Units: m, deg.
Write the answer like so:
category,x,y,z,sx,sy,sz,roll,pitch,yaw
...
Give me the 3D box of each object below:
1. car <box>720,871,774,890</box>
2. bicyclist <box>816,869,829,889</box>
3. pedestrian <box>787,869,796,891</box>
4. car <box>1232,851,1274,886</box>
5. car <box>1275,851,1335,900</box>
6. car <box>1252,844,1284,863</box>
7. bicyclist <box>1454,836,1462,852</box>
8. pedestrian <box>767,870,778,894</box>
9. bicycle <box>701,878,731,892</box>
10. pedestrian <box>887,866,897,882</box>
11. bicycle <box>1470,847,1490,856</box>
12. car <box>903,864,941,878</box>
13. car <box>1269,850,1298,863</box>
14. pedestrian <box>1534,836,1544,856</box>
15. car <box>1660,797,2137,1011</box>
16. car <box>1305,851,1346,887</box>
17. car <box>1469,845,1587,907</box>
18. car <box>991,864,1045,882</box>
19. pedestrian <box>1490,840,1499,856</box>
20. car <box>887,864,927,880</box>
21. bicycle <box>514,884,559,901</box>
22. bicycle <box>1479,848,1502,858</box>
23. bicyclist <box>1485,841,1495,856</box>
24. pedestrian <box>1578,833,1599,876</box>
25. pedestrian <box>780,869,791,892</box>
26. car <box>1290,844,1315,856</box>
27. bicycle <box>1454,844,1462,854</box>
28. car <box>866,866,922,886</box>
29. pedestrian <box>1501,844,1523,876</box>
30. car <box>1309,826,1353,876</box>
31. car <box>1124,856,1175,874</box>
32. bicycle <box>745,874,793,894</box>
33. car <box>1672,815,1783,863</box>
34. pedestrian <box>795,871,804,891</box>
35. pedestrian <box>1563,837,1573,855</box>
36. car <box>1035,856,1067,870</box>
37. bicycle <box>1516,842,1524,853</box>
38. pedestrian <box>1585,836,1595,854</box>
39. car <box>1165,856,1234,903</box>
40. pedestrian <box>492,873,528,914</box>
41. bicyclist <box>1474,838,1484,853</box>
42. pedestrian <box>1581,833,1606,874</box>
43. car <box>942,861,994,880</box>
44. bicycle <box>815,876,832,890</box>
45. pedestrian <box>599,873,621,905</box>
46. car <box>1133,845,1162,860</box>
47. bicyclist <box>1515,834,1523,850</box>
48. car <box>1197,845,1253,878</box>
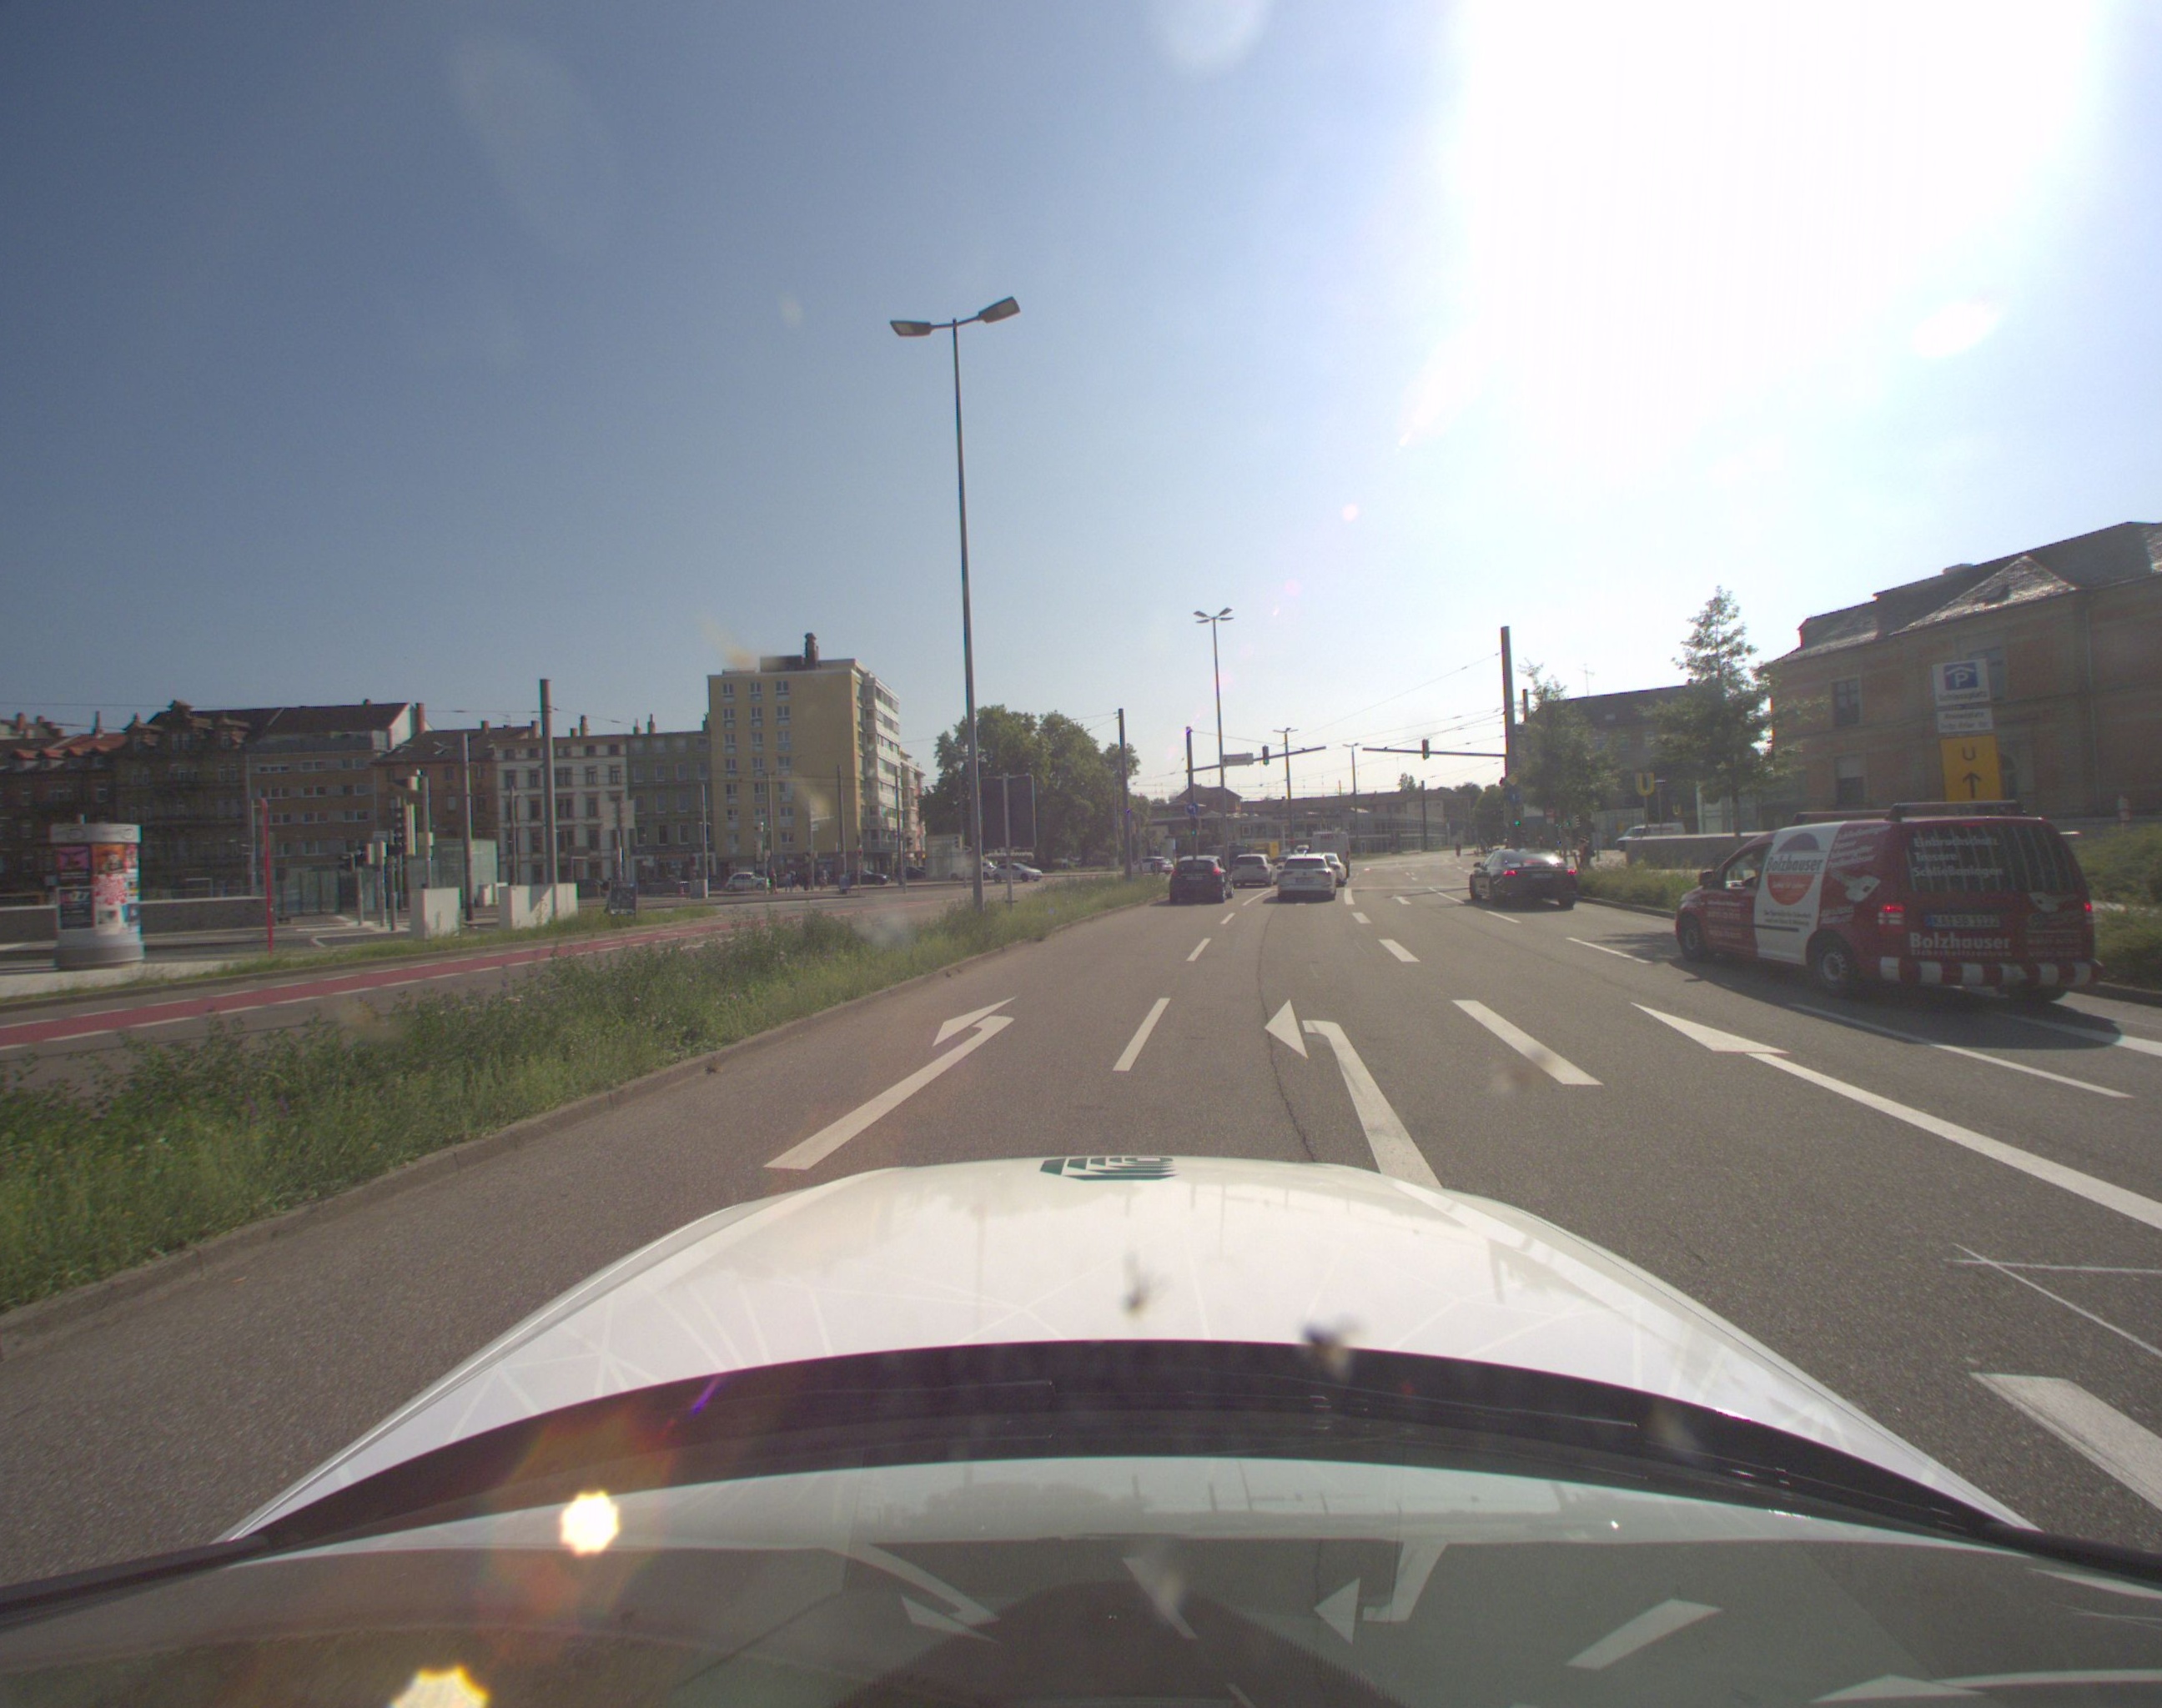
category,x,y,z,sx,sy,sz,roll,pitch,yaw
car,-27.763,2.220,67.736,3.724,1.393,1.587,-2,-1,1
bicyclist,-19.585,1.886,61.800,0.724,1.434,0.689,-2,-1,-3
pedestrian,-22.067,1.989,62.117,0.458,1.684,0.435,-4,2,-38
car,7.706,0.602,36.326,1.478,1.415,3.664,-2,0,16
car,7.092,0.656,25.978,1.673,1.387,3.648,-2,-1,14
car,21.540,-0.076,93.633,1.974,2.013,4.694,-3,-1,34
bicyclist,38.520,-1.019,83.232,0.706,1.529,0.811,-3,-1,27
pedestrian,-22.877,2.066,60.418,0.450,1.684,0.550,-2,2,25
bicycle,-34.408,2.916,76.776,2.461,1.115,0.732,-4,2,-28
pedestrian,-19.540,2.020,84.051,0.848,1.621,0.541,-2,-1,-3
bicycle,42.234,-0.285,86.154,1.780,0.885,0.766,-3,-1,30
car,-18.860,2.005,96.638,3.974,1.558,1.869,-3,-1,0
car,22.335,0.249,89.848,1.876,1.324,4.159,-3,-1,32
pedestrian,47.129,-0.825,83.798,0.739,2.013,0.811,-3,-1,27
car,8.548,0.447,9.184,1.720,1.819,4.292,-2,0,12
car,10.385,0.625,34.763,1.478,1.403,3.957,-2,-1,14
car,11.734,0.530,21.717,1.805,1.440,4.896,-2,0,18
car,-4.870,1.483,62.654,3.793,1.180,1.586,-3,-1,28
pedestrian,42.228,-0.603,83.132,0.739,1.529,0.811,-3,-1,27
car,-19.082,1.950,89.449,3.972,1.557,1.870,-2,2,1
bicycle,-50.643,3.545,75.779,3.519,1.347,0.774,-2,2,-1
bicycle,42.650,-0.102,84.861,2.032,0.894,0.751,-3,-1,30
bicyclist,42.602,-0.569,84.884,0.796,1.460,0.753,-3,-1,30
pedestrian,20.037,0.023,32.141,0.608,1.639,0.537,-3,-1,34
pedestrian,-22.189,2.014,61.081,0.451,1.684,0.549,-2,2,13
car,28.291,-0.524,104.029,1.876,1.280,4.159,-3,-1,33
bicycle,38.521,-0.516,83.194,0.699,1.061,1.994,-3,0,27
car,-14.893,1.751,65.020,4.028,1.399,1.585,-2,-1,-2
pedestrian,18.874,0.279,35.701,0.632,1.362,0.636,-3,-1,10
car,14.052,-0.141,45.839,2.172,2.549,4.704,-2,-1,16
car,5.502,0.861,65.578,3.946,1.373,1.579,0,3,42
bicycle,-29.095,2.786,76.019,3.976,1.551,1.195,-2,2,-2
car,30.140,-0.738,38.017,3.981,2.013,1.751,-3,2,-6
pedestrian,-21.640,2.084,62.577,0.501,1.487,0.435,-4,2,-38
pedestrian,38.623,-0.638,64.625,0.651,1.360,0.663,-2,2,31
car,-3.748,1.124,102.519,3.974,1.558,1.728,-3,-1,0
bicycle,51.165,-0.787,95.017,0.732,1.217,2.259,-3,0,27
pedestrian,40.549,-0.710,64.901,0.651,1.360,0.663,-2,2,31
car,3.873,0.769,26.125,1.688,1.368,3.979,-2,-1,15
pedestrian,-29.490,2.013,42.077,0.955,2.013,1.022,-2,2,1
bicyclist,42.145,-0.888,86.200,0.796,1.498,0.753,-3,-1,30
pedestrian,20.724,-0.018,32.947,0.612,1.628,0.534,-3,-1,4
car,-9.700,1.395,70.095,4.047,1.502,1.634,-2,-1,13
bicycle,-19.576,2.220,61.921,0.726,0.984,1.730,-2,0,-3
pedestrian,-27.443,2.047,47.461,0.774,1.786,0.856,-1,2,-2
car,9.842,-0.240,120.121,3.961,2.013,2.007,-2,2,11
bicyclist,51.086,-1.368,94.914,0.739,1.829,0.811,-3,-1,27
car,9.548,0.505,54.358,2.025,2.008,4.664,-2,0,-12
